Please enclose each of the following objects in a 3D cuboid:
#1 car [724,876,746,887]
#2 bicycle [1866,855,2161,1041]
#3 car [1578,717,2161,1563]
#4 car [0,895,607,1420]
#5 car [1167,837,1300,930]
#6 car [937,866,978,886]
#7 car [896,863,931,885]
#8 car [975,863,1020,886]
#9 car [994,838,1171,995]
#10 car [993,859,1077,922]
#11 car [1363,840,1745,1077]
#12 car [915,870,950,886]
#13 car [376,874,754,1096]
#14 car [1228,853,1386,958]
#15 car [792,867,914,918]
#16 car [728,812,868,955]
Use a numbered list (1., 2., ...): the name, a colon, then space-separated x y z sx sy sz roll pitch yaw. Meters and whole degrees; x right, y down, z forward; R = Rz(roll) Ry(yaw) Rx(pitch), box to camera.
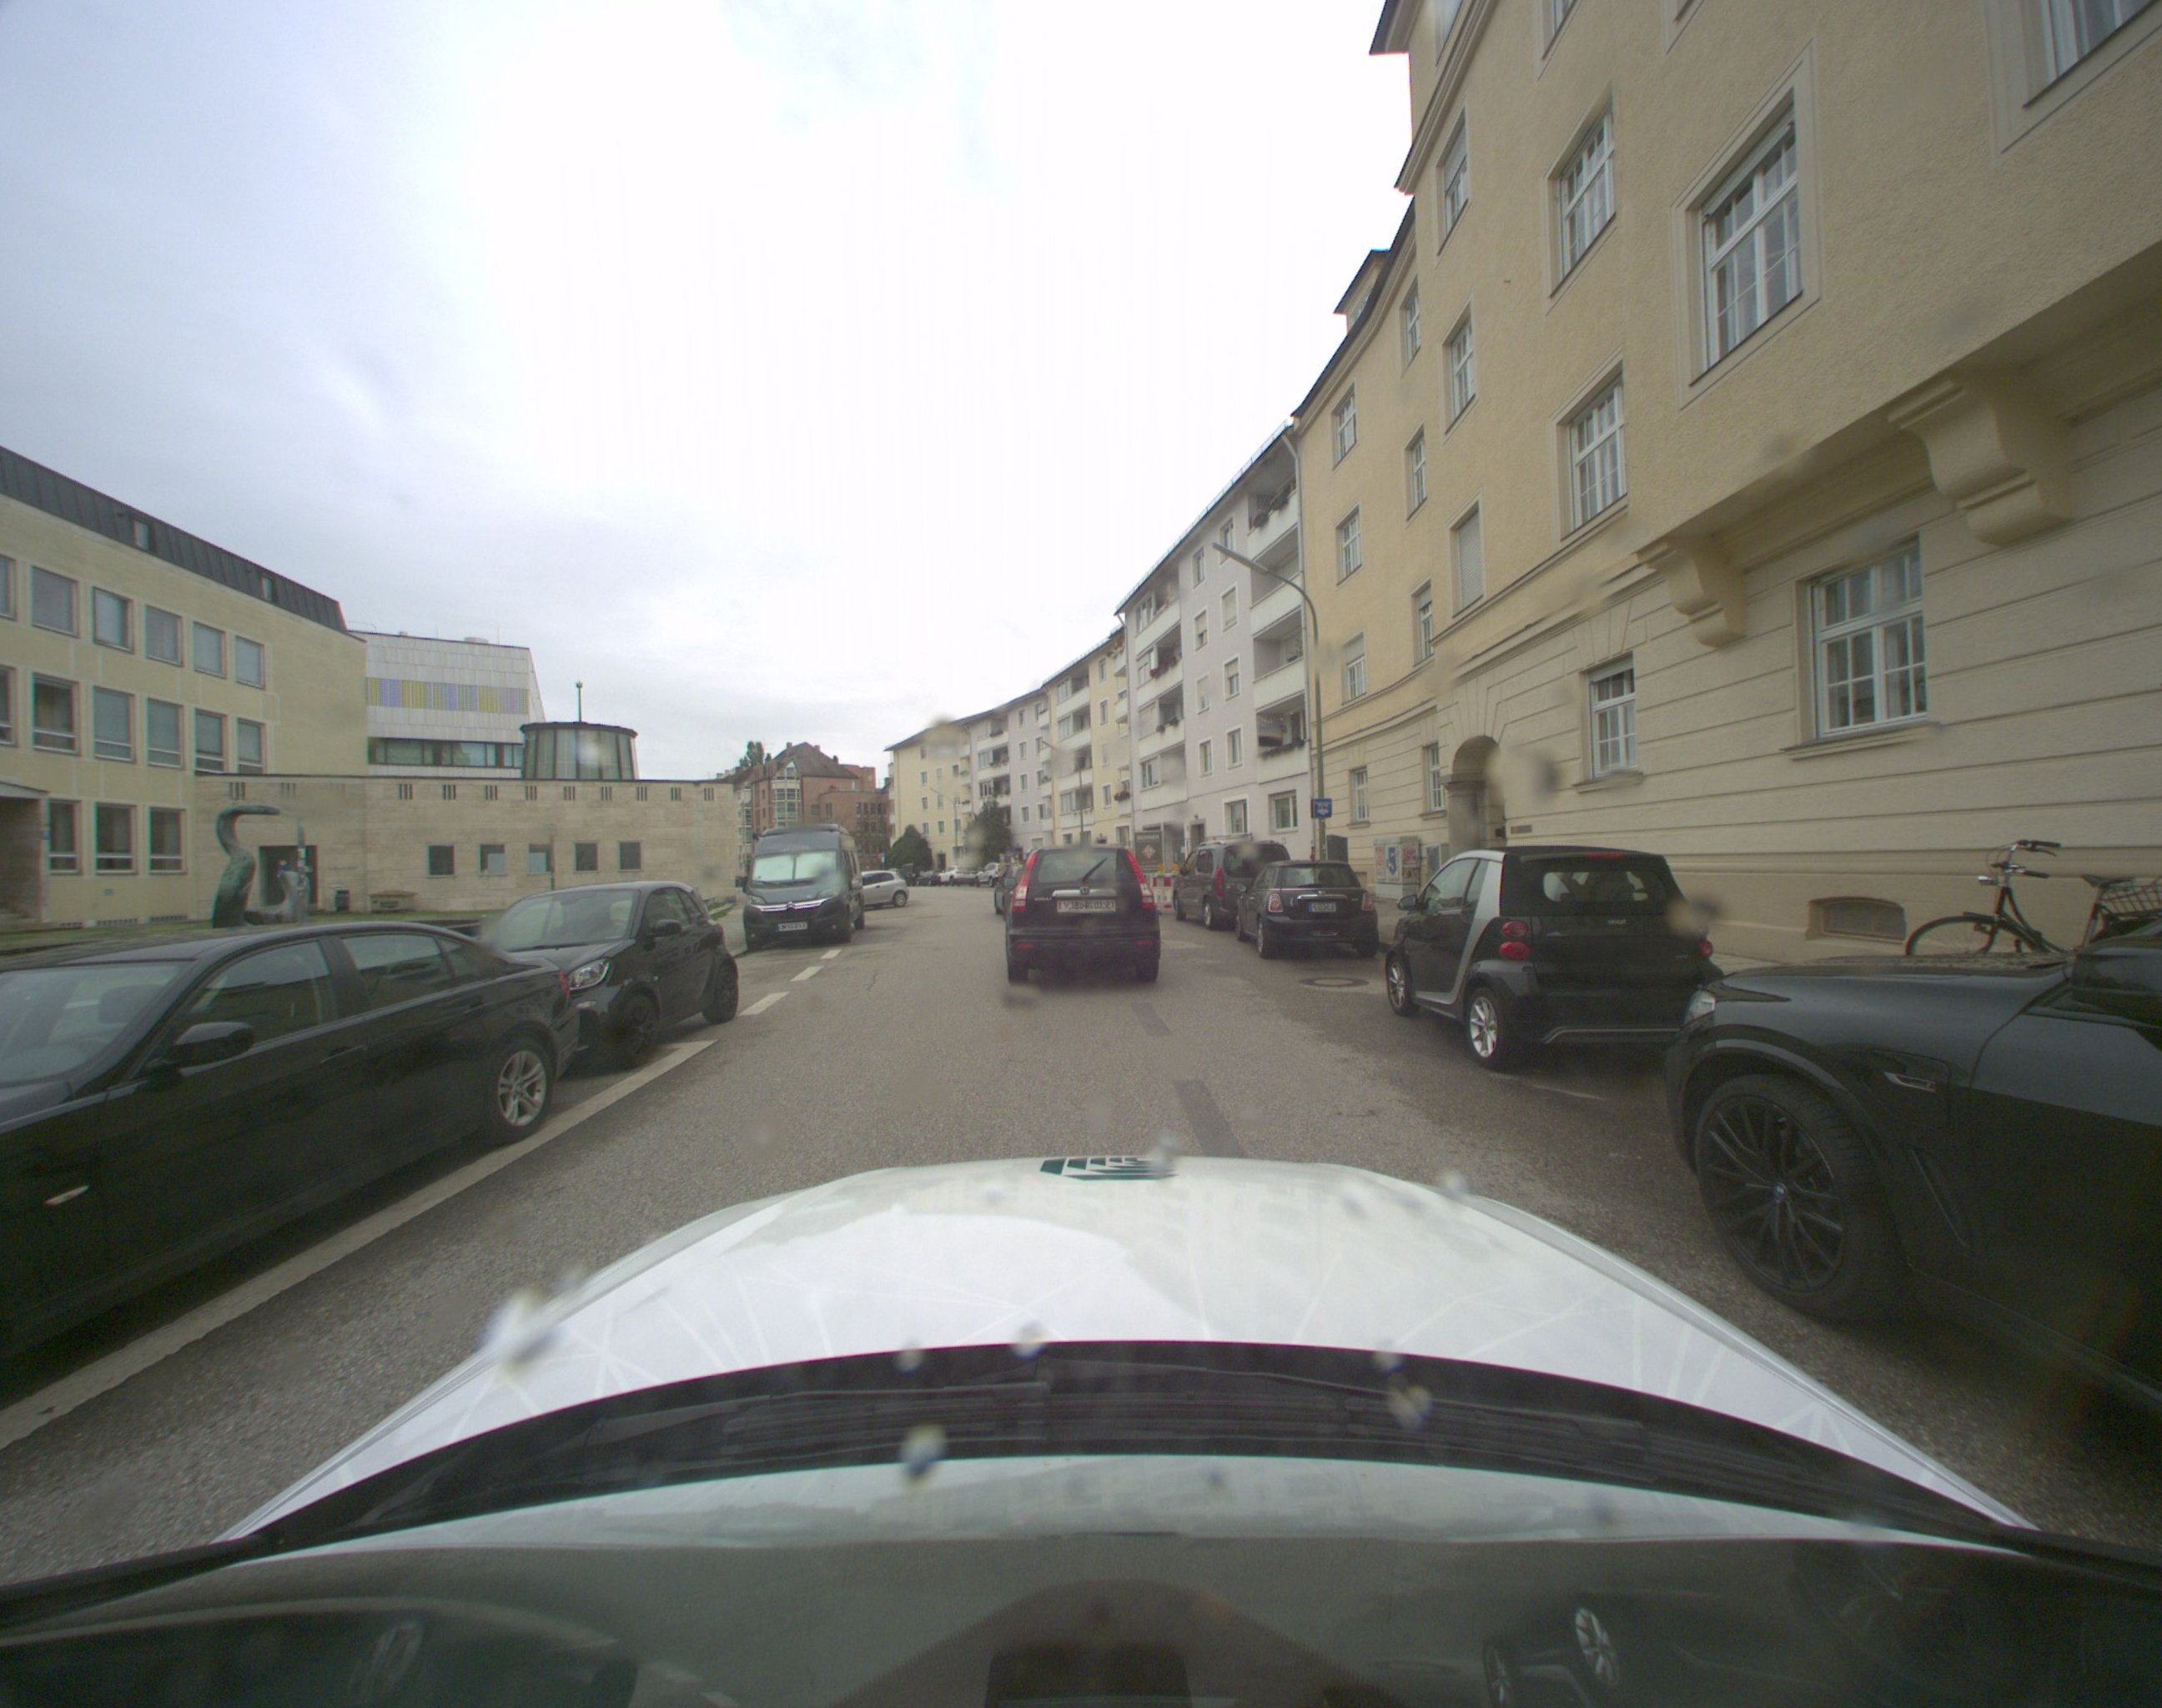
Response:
1. car: -49.951 3.976 117.583 1.823 1.472 4.068 -1 -1 -41
2. bicycle: 6.816 0.569 5.777 0.577 1.083 1.954 -5 0 2
3. car: 3.102 0.570 1.251 1.861 1.717 4.868 -1 -1 2
4. car: -4.180 1.027 3.528 1.795 1.406 4.449 -4 0 -4
5. car: 3.243 0.600 18.211 1.775 1.807 4.266 0 -1 -6
6. car: -9.715 1.675 63.842 1.736 1.483 3.959 -1 -1 -32
7. car: -14.820 1.730 72.008 1.736 1.878 3.959 -1 -1 -32
8. car: -5.670 1.374 55.018 1.733 1.483 3.966 -1 0 -26
9. car: -0.095 0.701 10.876 1.887 1.647 3.985 -2 -1 -4
10. car: -1.335 0.917 21.982 1.680 1.481 4.070 -2 -1 -12
11. car: 3.591 0.693 6.827 1.528 1.524 3.113 -1 -1 3
12. car: -12.455 2.006 68.139 1.709 1.236 3.565 -1 -1 -32
13. car: -4.452 1.006 7.588 1.667 1.502 2.973 -4 0 -4
14. car: 3.499 0.742 13.276 1.701 1.447 3.833 -1 -1 3
15. car: -8.625 1.453 31.044 1.663 1.481 4.113 -7 -2 41
16. car: -6.249 0.587 18.760 2.166 2.641 5.992 -3 0 -12
